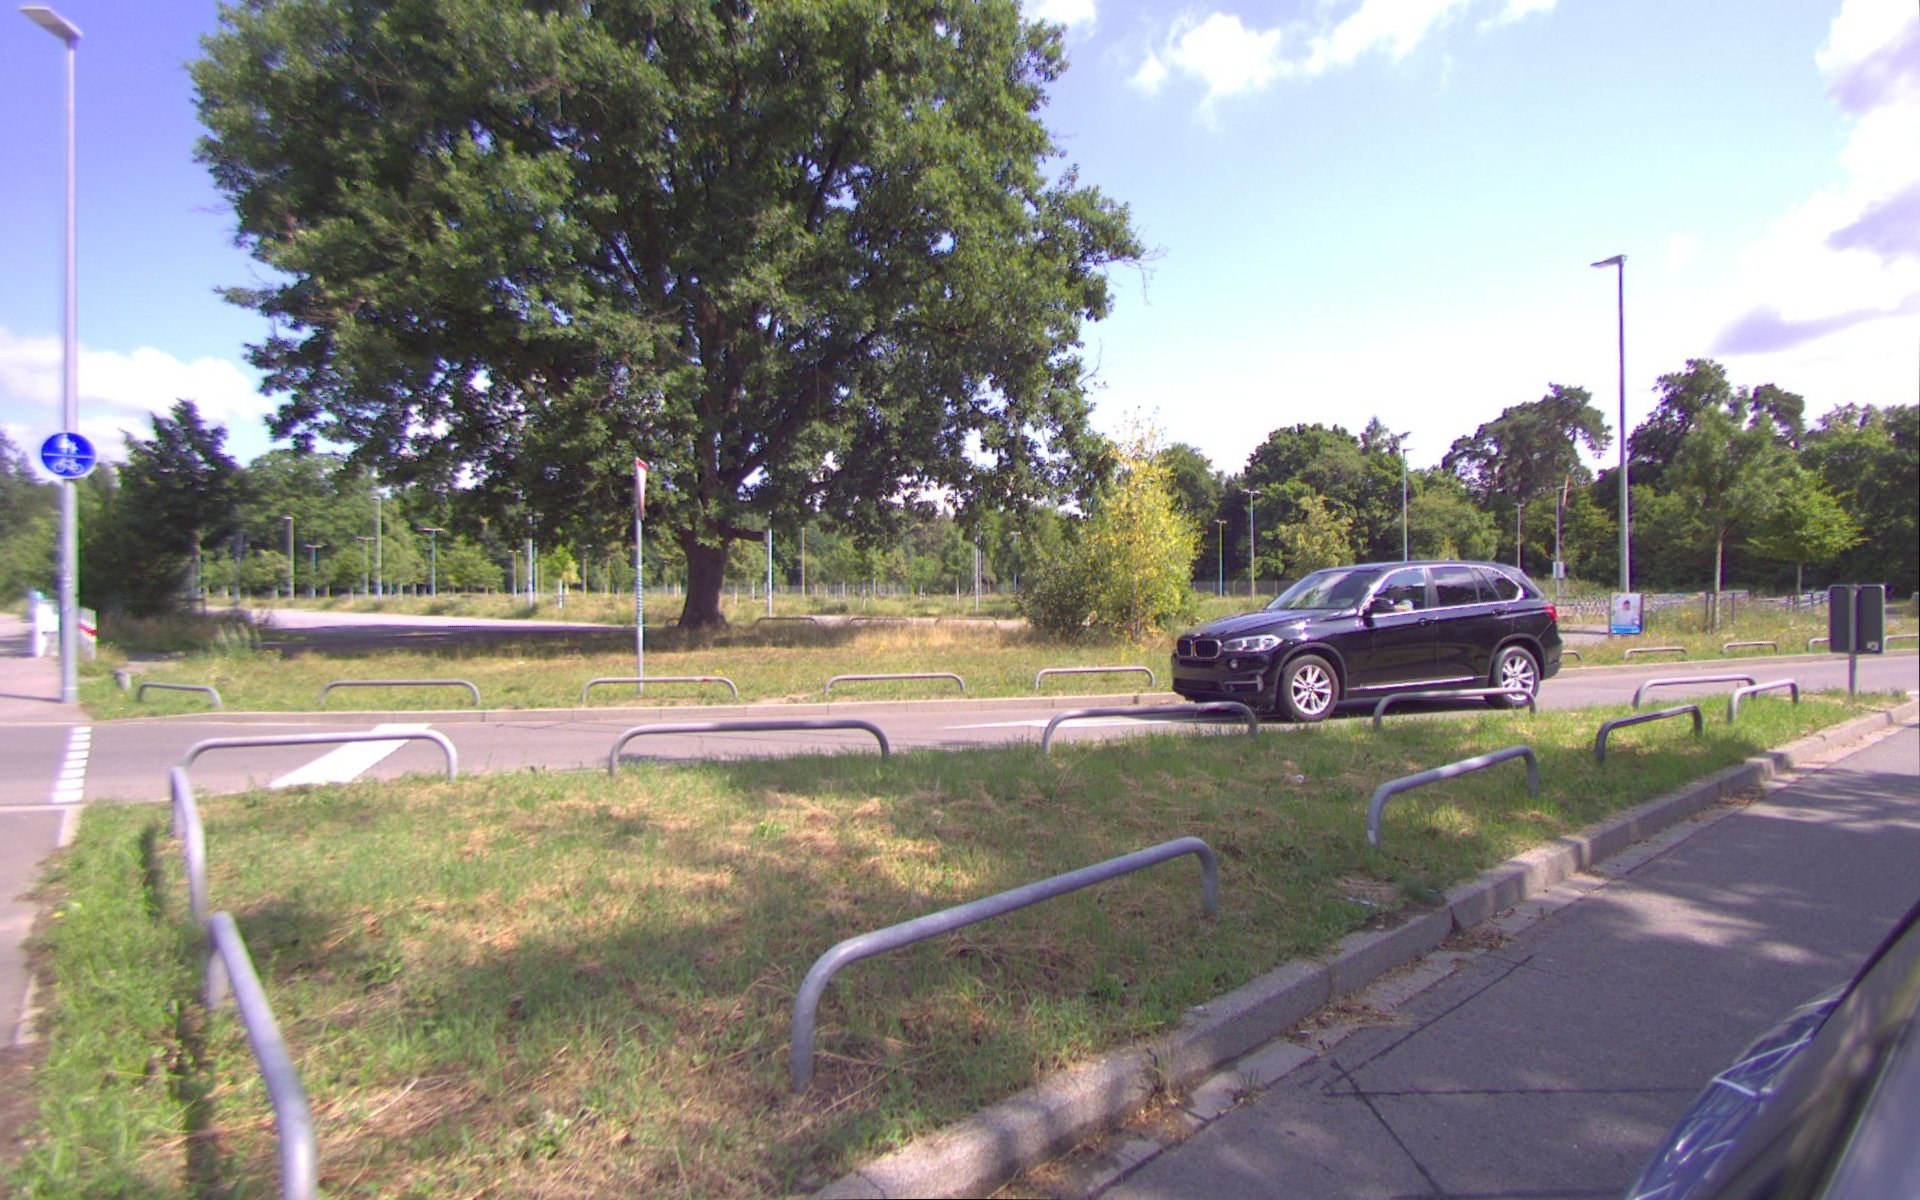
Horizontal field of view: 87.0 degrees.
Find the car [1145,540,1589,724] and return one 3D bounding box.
[{"bbox_3d":[4.749,0.304,11.900,4.609,1.787,1.985,-2,-1,-20],"label":"car"}]
